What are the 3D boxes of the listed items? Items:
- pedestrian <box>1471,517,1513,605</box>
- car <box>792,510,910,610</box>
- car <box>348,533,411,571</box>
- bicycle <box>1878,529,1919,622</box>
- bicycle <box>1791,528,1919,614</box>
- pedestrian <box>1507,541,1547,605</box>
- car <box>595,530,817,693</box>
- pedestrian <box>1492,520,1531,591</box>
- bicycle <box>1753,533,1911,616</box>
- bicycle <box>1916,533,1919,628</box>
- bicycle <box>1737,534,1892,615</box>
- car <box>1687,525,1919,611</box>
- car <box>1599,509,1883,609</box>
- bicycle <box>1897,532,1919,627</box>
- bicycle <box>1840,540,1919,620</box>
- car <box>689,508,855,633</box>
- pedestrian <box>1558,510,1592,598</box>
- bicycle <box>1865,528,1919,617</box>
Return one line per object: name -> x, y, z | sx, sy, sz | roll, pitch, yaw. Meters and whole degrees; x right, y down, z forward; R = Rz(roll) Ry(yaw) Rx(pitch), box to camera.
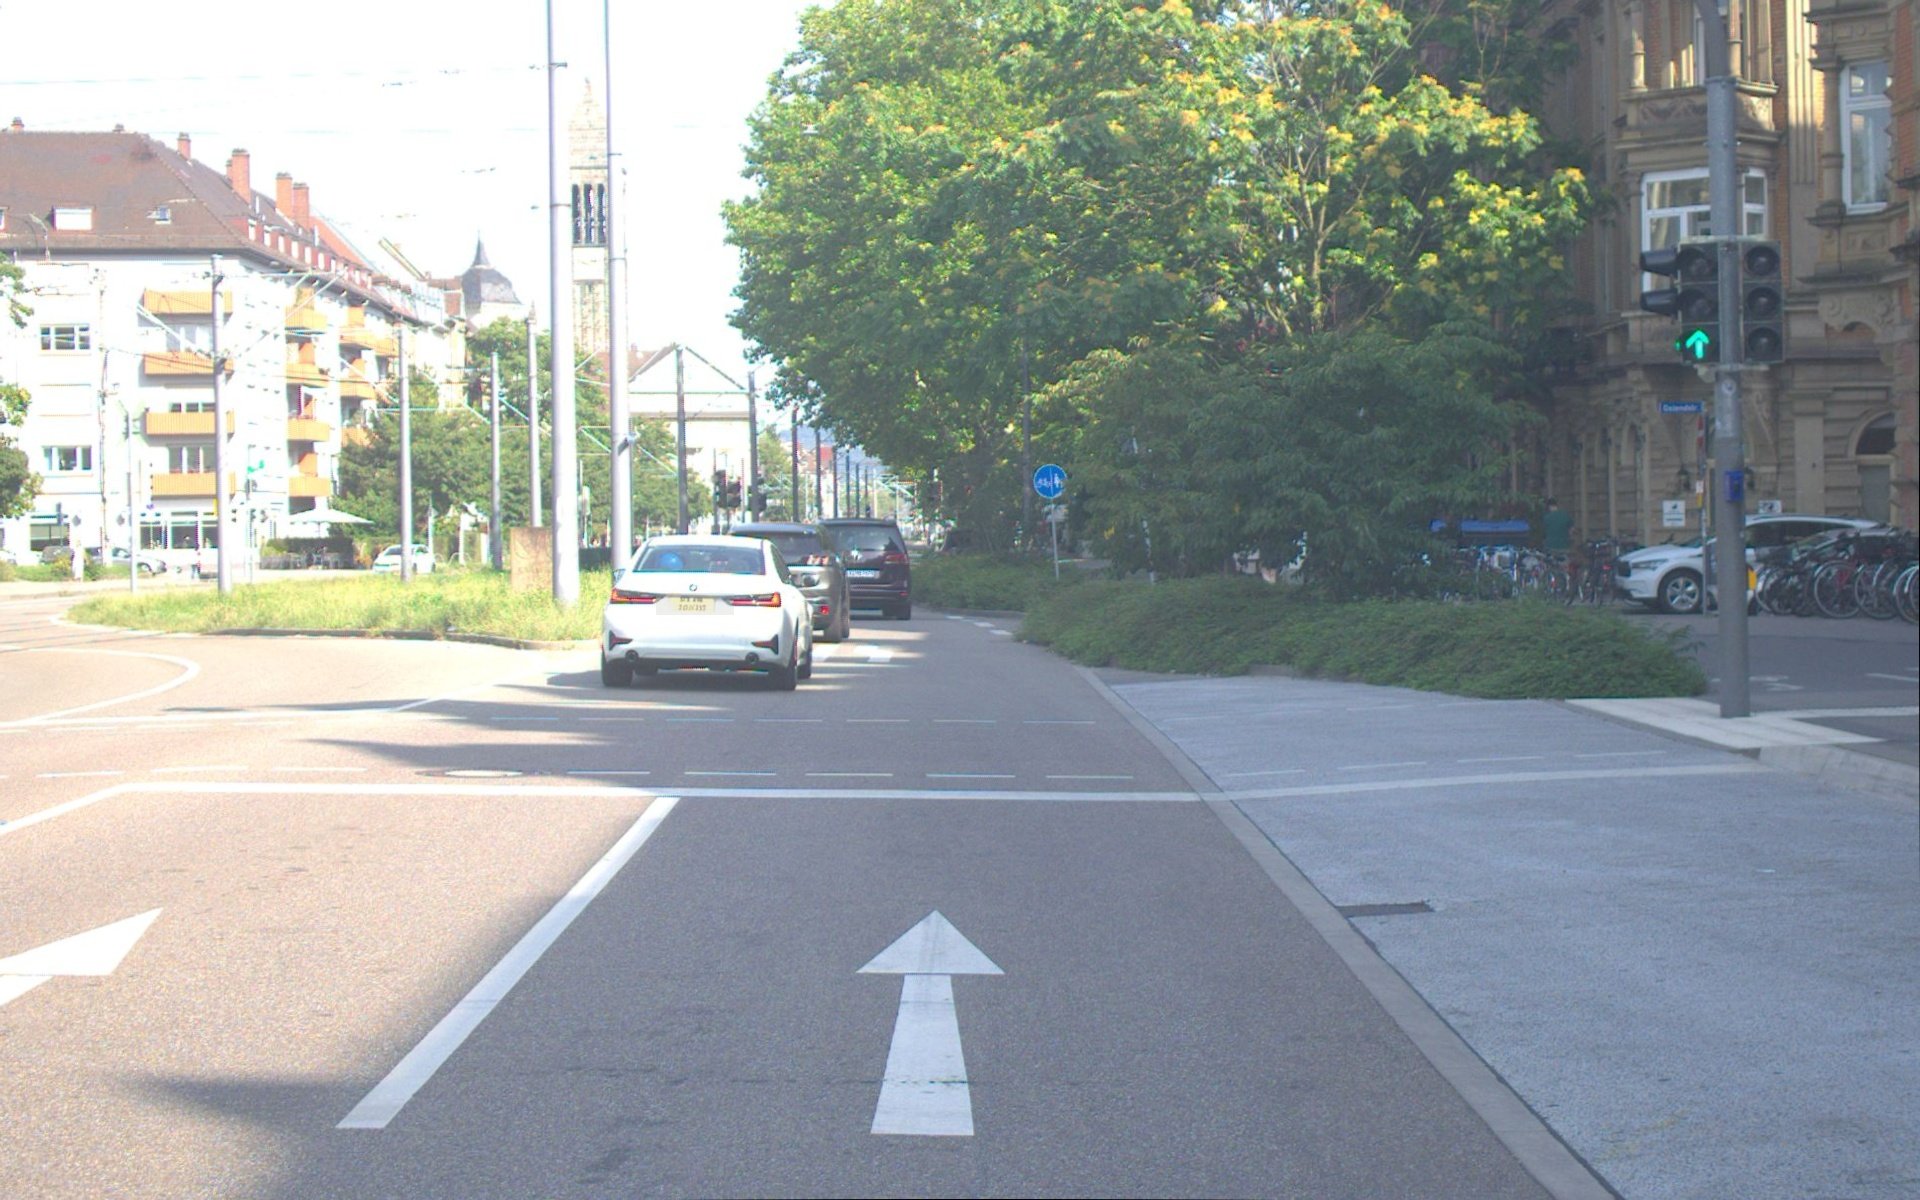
pedestrian -> 8.873, -0.658, 57.362 | 0.573, 1.449, 0.731 | -1, 1, 1
car -> -1.811, -0.700, 58.211 | 1.831, 1.615, 4.357 | 0, 1, 0
car -> -23.718, -1.981, 140.608 | 1.993, 1.495, 4.001 | -1, 1, -2
bicycle -> 11.516, -0.299, 39.256 | 1.927, 1.044, 0.500 | -1, 1, -5
bicycle -> 11.421, -0.369, 42.954 | 1.927, 1.044, 0.527 | -1, 1, -5
pedestrian -> 9.595, -0.454, 58.142 | 0.443, 1.067, 0.487 | -2, 1, -30
car -> -2.409, 0.057, 33.642 | 1.809, 1.422, 4.775 | 1, 1, 0
pedestrian -> 9.874, -0.801, 61.552 | 0.597, 1.244, 0.506 | -1, 1, 0
bicycle -> 11.408, -0.342, 44.979 | 1.927, 1.044, 0.527 | -1, 1, -5
bicycle -> 11.549, -0.231, 37.802 | 1.927, 1.044, 0.500 | -1, 1, -5
bicycle -> 11.382, -0.344, 45.816 | 1.927, 1.044, 0.527 | -1, 1, -5
car -> 13.189, -0.500, 52.134 | 3.936, 1.218, 1.547 | -1, 1, -4
car -> 12.969, -0.694, 57.231 | 4.179, 1.558, 2.000 | -1, 1, -4
bicycle -> 11.541, -0.251, 38.548 | 1.927, 1.044, 0.500 | -1, 1, -5
bicycle -> 11.673, -0.255, 41.596 | 1.927, 0.947, 0.500 | -1, 1, -5
car -> -2.514, -0.431, 47.018 | 1.993, 1.615, 4.357 | 0, 1, 0
pedestrian -> 10.634, -0.795, 59.469 | 0.443, 1.501, 0.487 | -1, 1, -5
bicycle -> 11.778, -0.344, 40.831 | 1.927, 1.044, 0.500 | -1, 1, -5
